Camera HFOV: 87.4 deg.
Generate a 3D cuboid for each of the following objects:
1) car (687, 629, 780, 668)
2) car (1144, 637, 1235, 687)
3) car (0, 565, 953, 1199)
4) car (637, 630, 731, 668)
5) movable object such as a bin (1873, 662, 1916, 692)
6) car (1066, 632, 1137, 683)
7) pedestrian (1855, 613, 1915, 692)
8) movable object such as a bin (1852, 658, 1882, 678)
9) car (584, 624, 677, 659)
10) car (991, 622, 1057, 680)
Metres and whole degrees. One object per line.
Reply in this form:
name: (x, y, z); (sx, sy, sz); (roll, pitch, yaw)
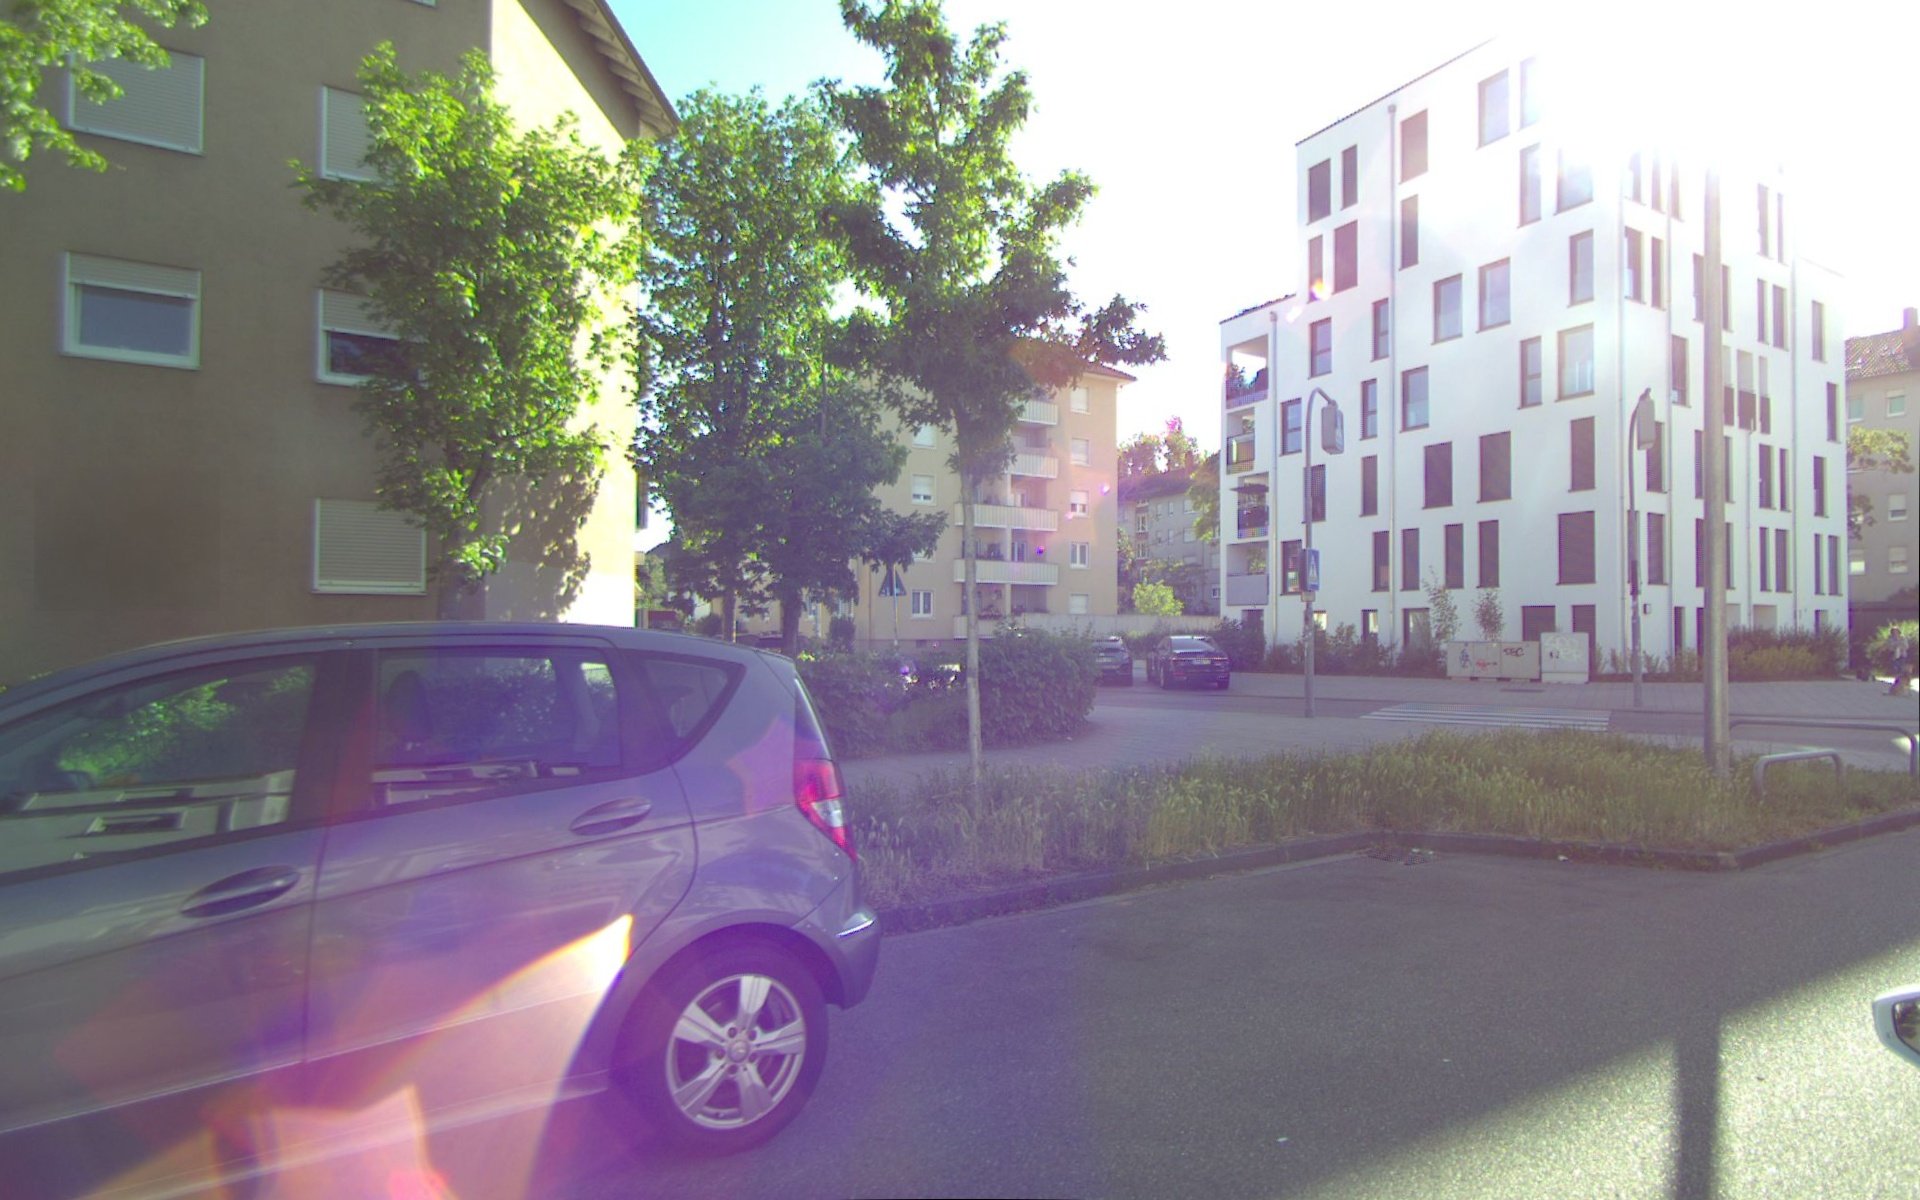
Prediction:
car: (-8.882, 1.885, 39.731); (1.959, 1.327, 4.002); (2, 0, 13)
car: (6.441, 1.708, 28.685); (1.960, 1.183, 4.566); (0, 0, 6)
car: (-2.198, 0.756, 3.026); (4.061, 1.583, 1.712); (2, -3, -31)
car: (-11.181, 1.953, 41.004); (1.959, 1.327, 4.002); (2, 0, 13)
movable object such as a bin: (21.686, 1.782, 23.311); (0.833, 0.689, 0.272); (0, -2, -8)
car: (4.266, 1.728, 30.950); (1.960, 1.450, 4.567); (0, -2, 5)
pedestrian: (25.603, 1.430, 27.805); (0.939, 2.149, 0.776); (0, 0, 13)
movable object such as a bin: (25.828, 1.937, 28.607); (0.674, 0.549, 0.272); (1, -1, -10)
car: (-14.028, 1.750, 42.985); (1.959, 1.327, 4.002); (2, 0, 13)
car: (2.033, 1.586, 32.181); (1.960, 1.673, 4.001); (0, 0, 3)
